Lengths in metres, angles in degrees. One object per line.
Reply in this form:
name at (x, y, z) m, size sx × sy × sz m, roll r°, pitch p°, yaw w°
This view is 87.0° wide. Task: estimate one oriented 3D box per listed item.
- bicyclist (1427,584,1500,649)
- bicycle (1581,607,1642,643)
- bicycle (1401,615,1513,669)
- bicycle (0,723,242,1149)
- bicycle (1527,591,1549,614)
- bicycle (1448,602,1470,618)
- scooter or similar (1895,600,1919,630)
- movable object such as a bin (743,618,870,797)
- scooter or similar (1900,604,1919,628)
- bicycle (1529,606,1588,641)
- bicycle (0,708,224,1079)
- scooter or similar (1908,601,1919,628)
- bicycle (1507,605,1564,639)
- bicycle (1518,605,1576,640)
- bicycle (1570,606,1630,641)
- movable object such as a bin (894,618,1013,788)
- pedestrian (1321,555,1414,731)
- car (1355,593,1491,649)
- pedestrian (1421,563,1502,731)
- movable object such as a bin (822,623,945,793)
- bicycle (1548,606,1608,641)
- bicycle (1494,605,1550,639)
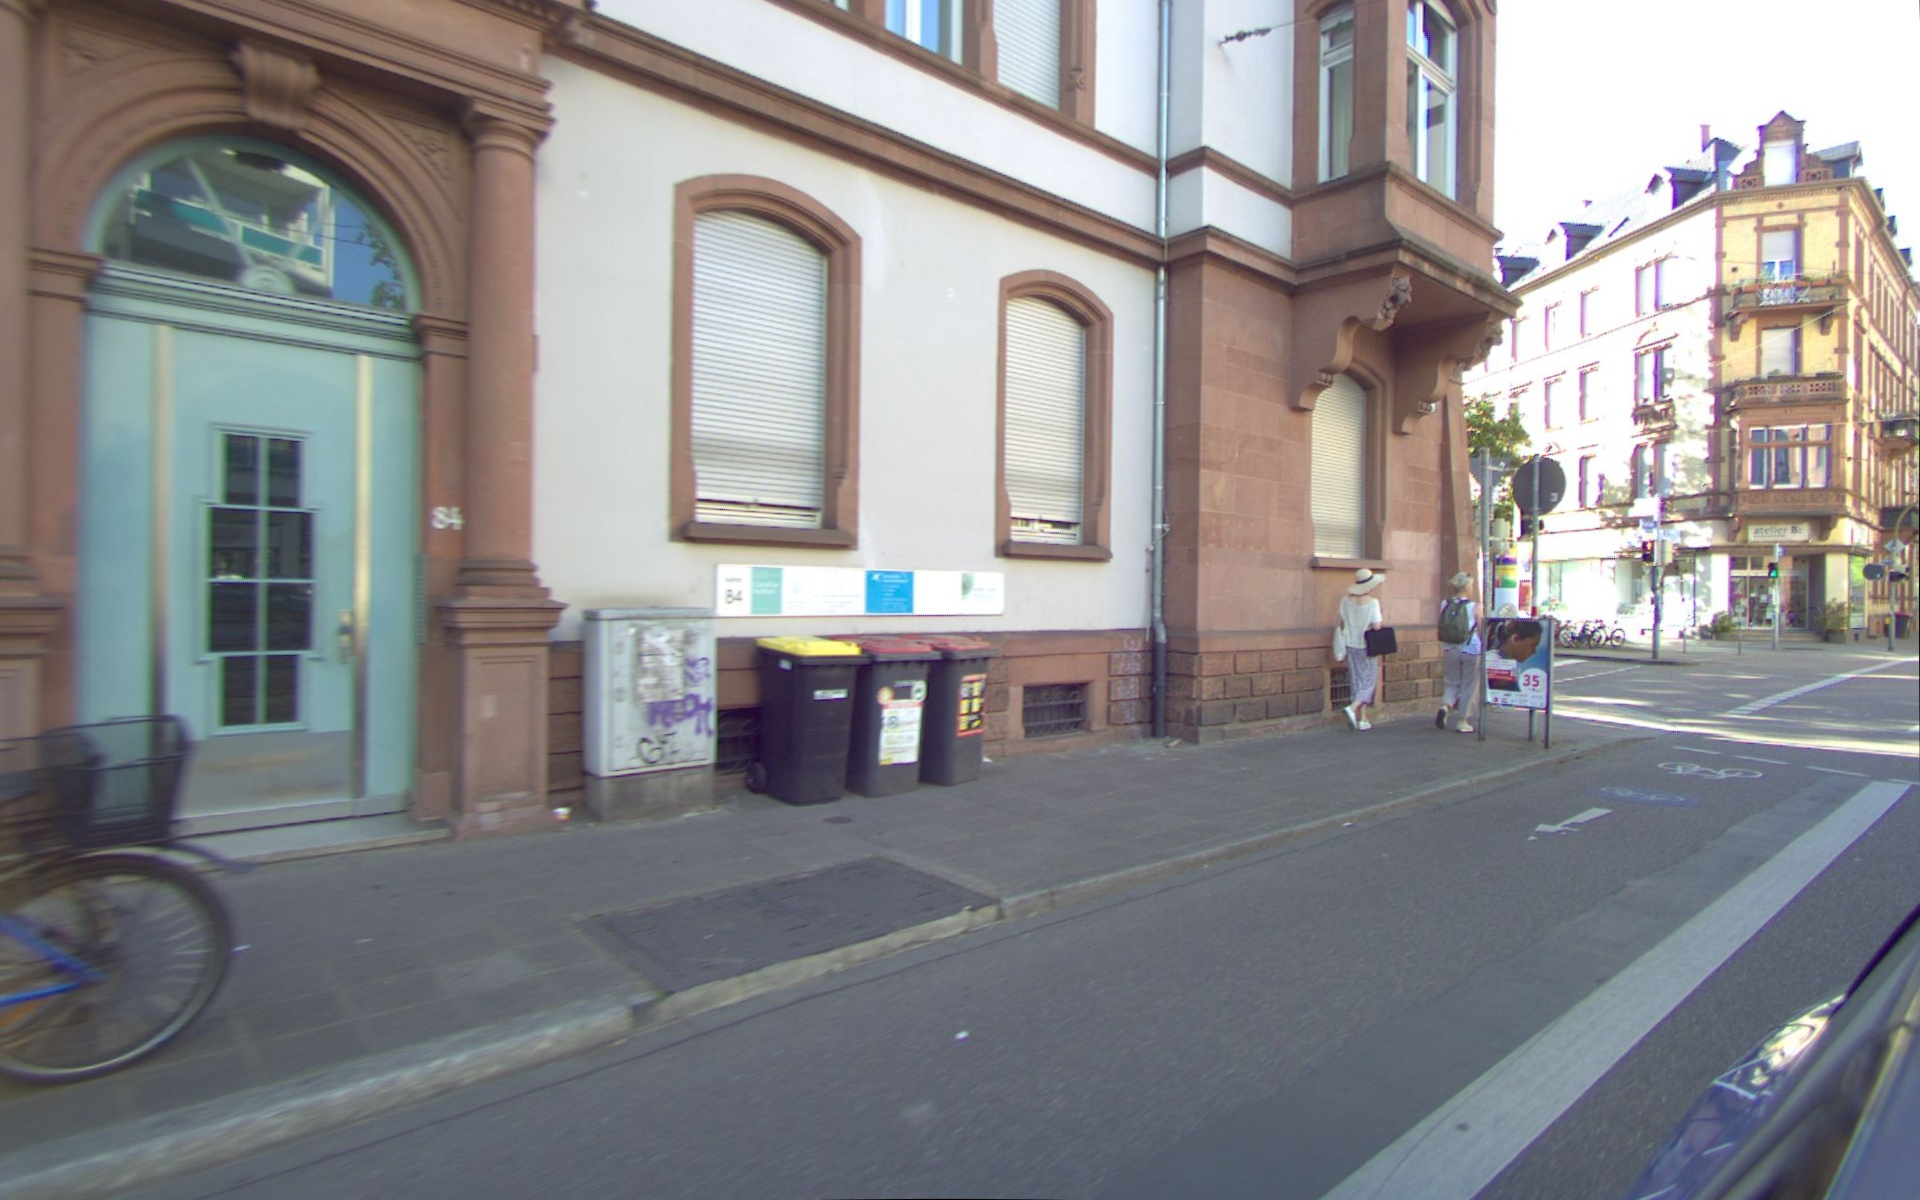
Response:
bicyclist at (10.797, 0.333, 21.730) m, size 0.821 × 1.360 × 1.137 m, roll 1°, pitch 0°, yaw -26°
bicycle at (22.672, 0.859, 35.203) m, size 2.076 × 1.157 × 0.619 m, roll -1°, pitch 1°, yaw -19°
bicycle at (10.715, 0.878, 21.887) m, size 0.830 × 1.058 × 2.100 m, roll 0°, pitch 1°, yaw -26°
bicycle at (-2.764, 0.867, 2.351) m, size 0.430 × 0.959 × 1.737 m, roll 1°, pitch 0°, yaw 42°
bicycle at (26.903, 0.113, 47.093) m, size 0.389 × 1.016 × 1.000 m, roll 0°, pitch 0°, yaw -6°
bicycle at (26.378, 0.522, 53.529) m, size 0.389 × 0.808 × 1.347 m, roll 0°, pitch 0°, yaw -6°
scooter or similar at (39.750, 0.623, 42.270) m, size 0.538 × 1.162 × 0.899 m, roll 0°, pitch 5°, yaw -42°
movable object such as a bin at (-1.038, 0.686, 6.816) m, size 0.561 × 1.090 × 0.667 m, roll 0°, pitch 2°, yaw -42°
scooter or similar at (41.204, 0.704, 43.680) m, size 0.669 × 0.969 × 0.792 m, roll 0°, pitch 4°, yaw -42°
bicycle at (21.793, 0.853, 36.846) m, size 2.076 × 1.157 × 0.619 m, roll -2°, pitch 1°, yaw -19°
bicycle at (-3.076, 0.857, 2.708) m, size 0.430 × 0.959 × 1.737 m, roll 1°, pitch 0°, yaw 42°
scooter or similar at (42.118, 0.645, 44.301) m, size 0.776 × 1.162 × 0.792 m, roll 0°, pitch 4°, yaw -42°
bicycle at (21.622, 0.815, 38.023) m, size 2.076 × 1.157 × 0.619 m, roll -2°, pitch 1°, yaw -19°
bicycle at (21.701, 0.821, 37.391) m, size 2.076 × 1.157 × 0.619 m, roll -2°, pitch 1°, yaw -19°
bicycle at (22.566, 0.823, 35.661) m, size 2.075 × 1.157 × 0.619 m, roll -1°, pitch 1°, yaw -19°
movable object such as a bin at (-0.052, 0.733, 7.559) m, size 0.584 × 1.168 × 0.667 m, roll 0°, pitch 0°, yaw -42°
pedestrian at (4.375, 0.445, 10.871) m, size 0.661 × 1.805 × 0.706 m, roll 2°, pitch -1°, yaw -42°
car at (13.764, 0.562, 30.380) m, size 1.808 × 1.517 × 4.255 m, roll -1°, pitch 1°, yaw -5°
pedestrian at (5.379, 0.474, 10.848) m, size 0.625 × 1.722 × 0.672 m, roll 0°, pitch 0°, yaw 40°
movable object such as a bin at (-0.541, 0.723, 7.137) m, size 0.561 × 1.090 × 0.667 m, roll 1°, pitch 1°, yaw -42°
bicycle at (22.066, 0.834, 36.143) m, size 2.076 × 1.157 × 0.619 m, roll -2°, pitch 1°, yaw -19°
bicycle at (21.448, 0.831, 38.596) m, size 2.076 × 1.157 × 0.619 m, roll -2°, pitch 1°, yaw -19°
